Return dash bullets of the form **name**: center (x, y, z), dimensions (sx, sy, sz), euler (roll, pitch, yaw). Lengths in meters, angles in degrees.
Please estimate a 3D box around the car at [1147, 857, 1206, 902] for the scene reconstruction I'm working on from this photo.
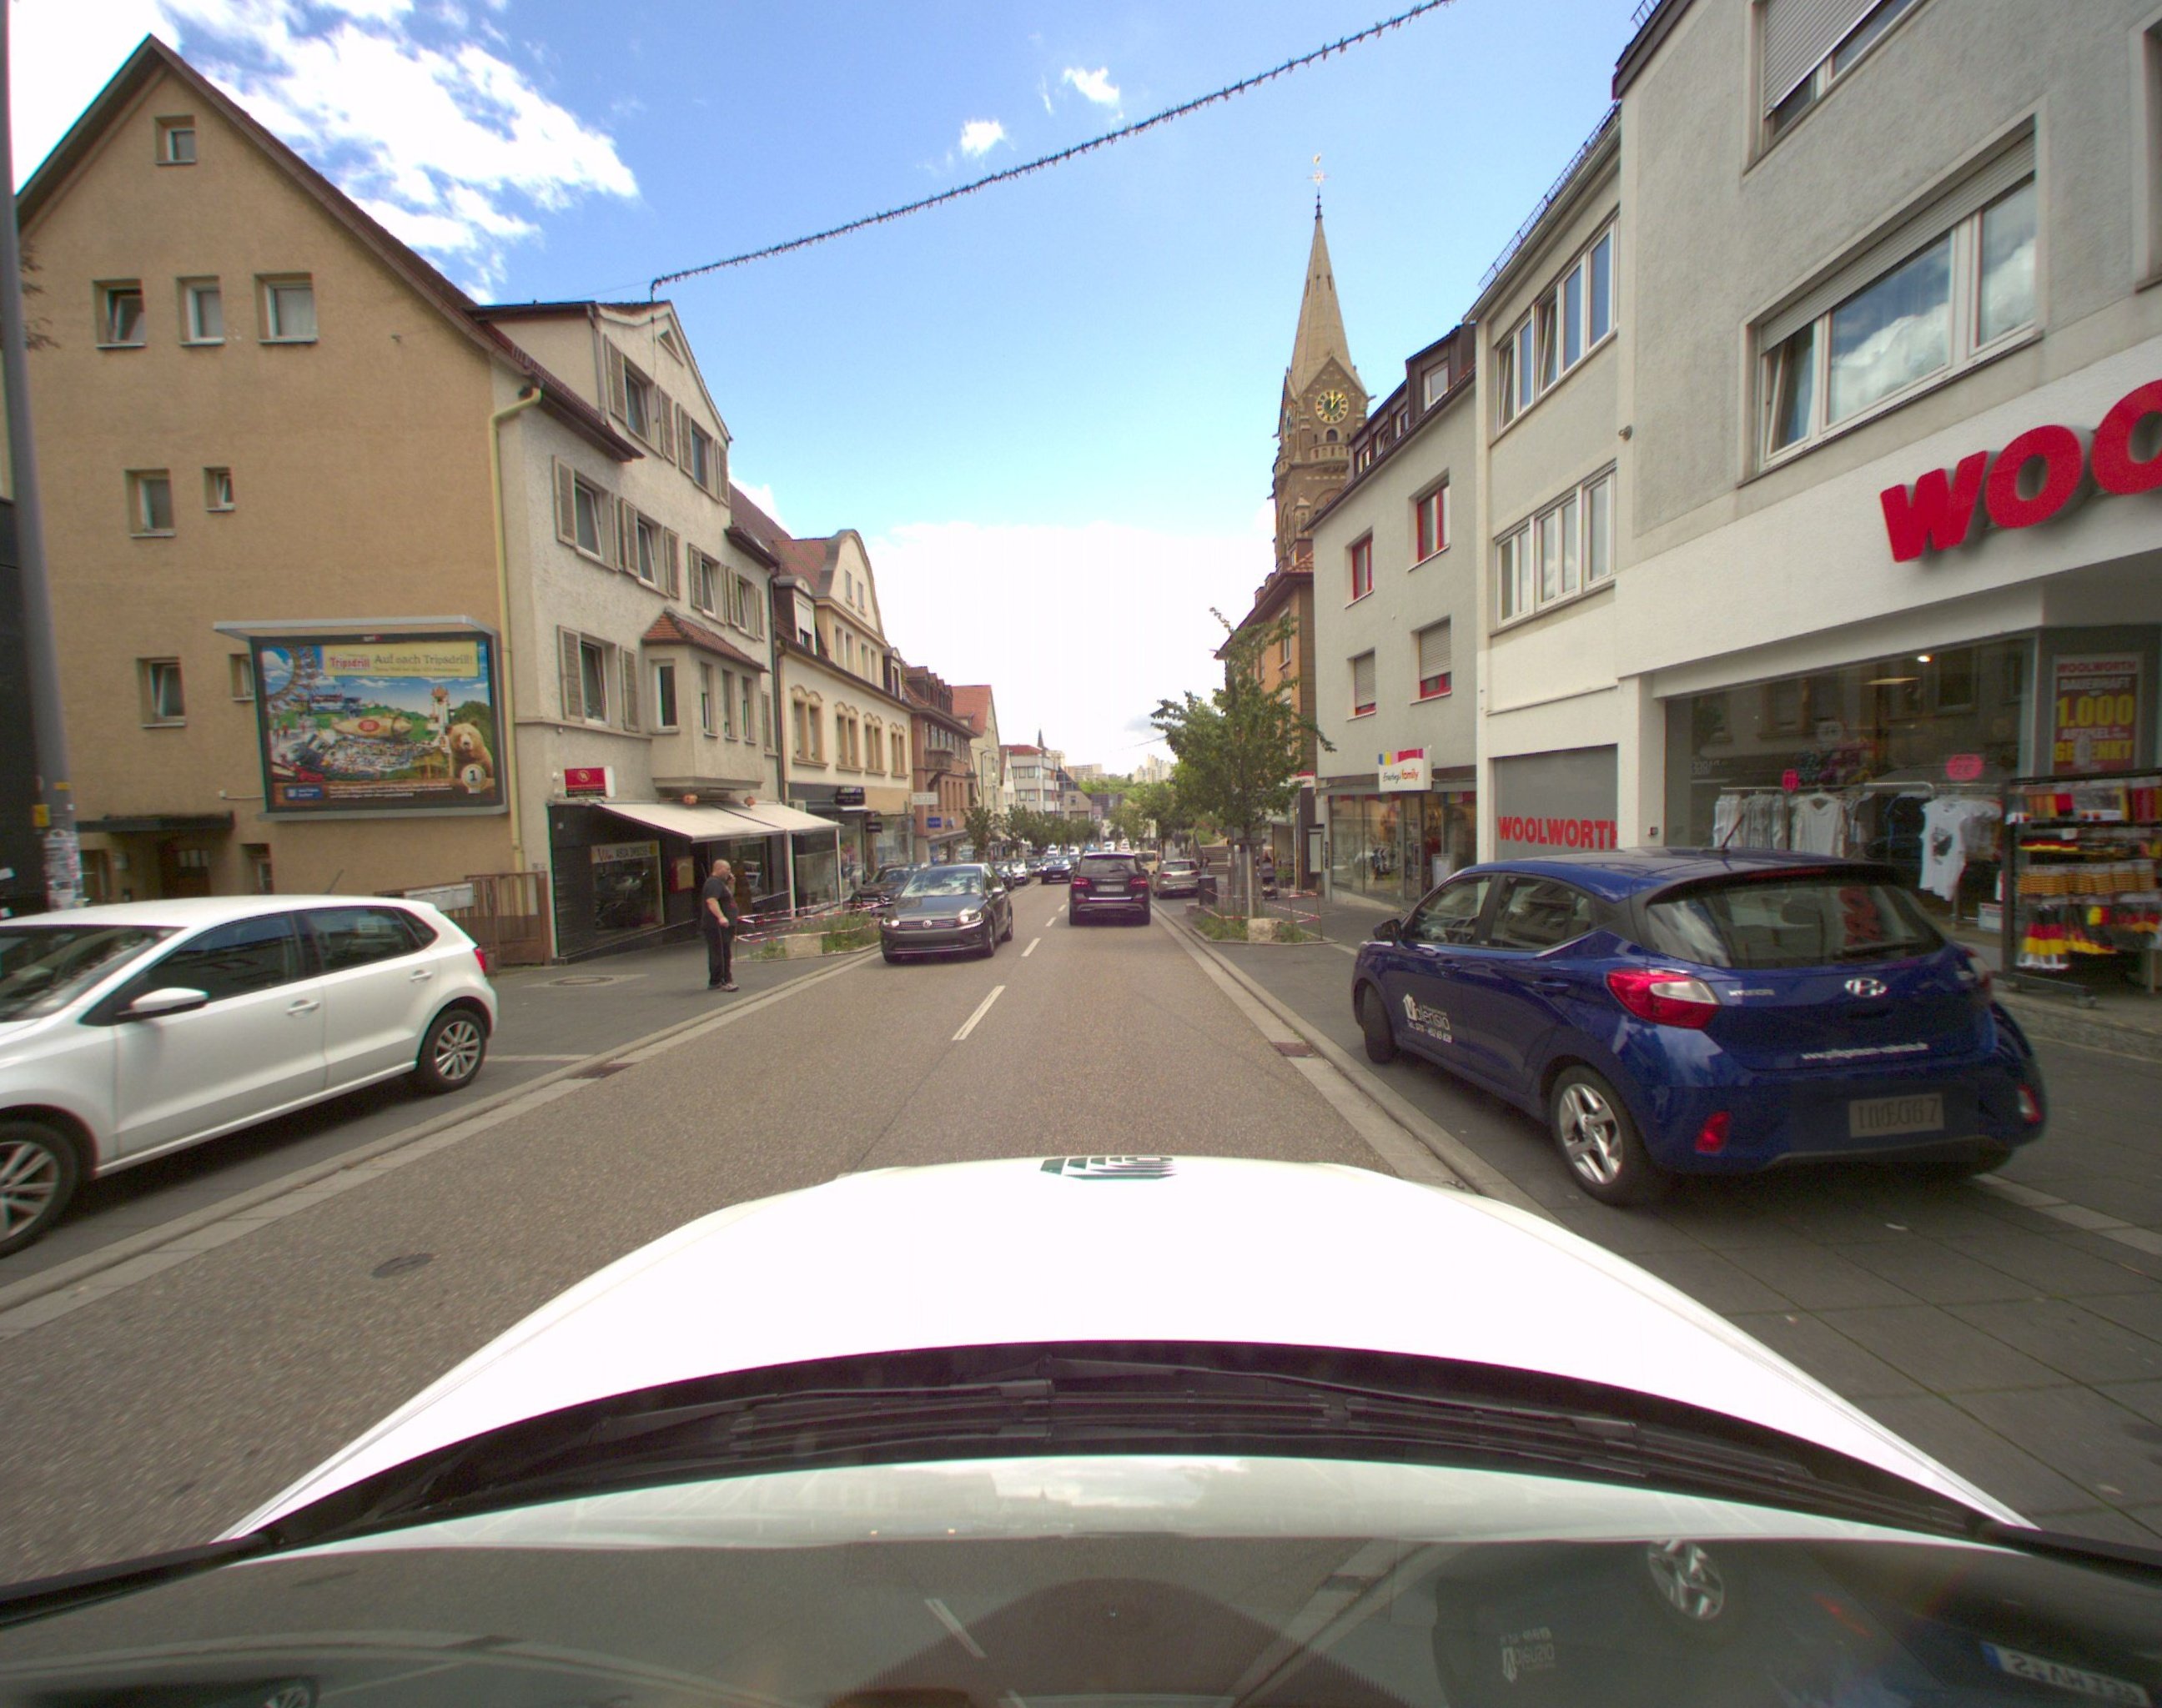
- **car**: center (3.670, 0.937, 31.870), dimensions (1.742, 1.465, 4.075), euler (-5, 0, 1)

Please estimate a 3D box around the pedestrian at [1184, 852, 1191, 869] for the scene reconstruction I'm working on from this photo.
- **pedestrian**: center (10.163, 0.653, 77.410), dimensions (0.565, 1.586, 0.668), euler (-2, -1, 10)

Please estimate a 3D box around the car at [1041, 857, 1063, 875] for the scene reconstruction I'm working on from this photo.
- **car**: center (-2.966, 1.205, 83.731), dimensions (1.919, 1.628, 4.264), euler (-1, 0, 2)

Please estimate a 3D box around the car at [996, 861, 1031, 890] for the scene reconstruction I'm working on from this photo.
- **car**: center (-4.142, 1.292, 50.607), dimensions (1.921, 1.595, 4.455), euler (0, 0, -2)

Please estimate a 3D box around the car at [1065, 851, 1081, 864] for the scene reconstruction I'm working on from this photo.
- **car**: center (-1.043, 0.458, 108.010), dimensions (1.919, 1.628, 4.264), euler (0, 0, 2)

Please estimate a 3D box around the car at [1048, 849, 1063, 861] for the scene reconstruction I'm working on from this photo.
- **car**: center (-3.478, 0.085, 111.020), dimensions (1.920, 1.628, 4.414), euler (0, 0, 0)

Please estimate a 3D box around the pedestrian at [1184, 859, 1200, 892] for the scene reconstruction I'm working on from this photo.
- **pedestrian**: center (5.812, 1.119, 42.630), dimensions (0.670, 1.632, 0.669), euler (-4, -1, -1)

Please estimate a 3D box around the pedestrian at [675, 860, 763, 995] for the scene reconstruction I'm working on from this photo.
- **pedestrian**: center (-4.732, 0.929, 10.705), dimensions (0.735, 1.672, 0.862), euler (-2, 0, -1)

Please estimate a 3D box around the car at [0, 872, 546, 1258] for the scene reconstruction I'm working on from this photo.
- **car**: center (-5.476, 0.926, 4.712), dimensions (1.920, 1.511, 4.262), euler (0, 0, 0)

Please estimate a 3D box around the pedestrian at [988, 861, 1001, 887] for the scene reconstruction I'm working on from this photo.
- **pedestrian**: center (-5.720, 1.317, 54.053), dimensions (0.725, 1.667, 0.720), euler (-1, -1, 0)

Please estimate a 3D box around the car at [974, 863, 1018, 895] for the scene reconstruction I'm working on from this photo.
- **car**: center (-4.441, 1.302, 43.314), dimensions (1.921, 1.496, 4.259), euler (-2, 0, -1)

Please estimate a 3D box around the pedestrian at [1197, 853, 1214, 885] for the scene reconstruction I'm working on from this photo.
- **pedestrian**: center (6.539, 0.776, 42.698), dimensions (0.670, 1.632, 0.669), euler (-4, -1, -1)

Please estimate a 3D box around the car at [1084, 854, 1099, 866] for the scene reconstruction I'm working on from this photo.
- **car**: center (1.380, 0.740, 107.257), dimensions (1.806, 1.508, 4.000), euler (-2, 0, 1)

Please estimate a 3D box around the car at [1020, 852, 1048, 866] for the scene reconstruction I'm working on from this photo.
- **car**: center (-6.784, 0.773, 118.416), dimensions (3.978, 1.750, 1.998), euler (-4, 0, -3)

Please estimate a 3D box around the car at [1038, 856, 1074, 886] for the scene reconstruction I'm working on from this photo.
- **car**: center (-1.547, 1.075, 51.896), dimensions (1.985, 1.718, 4.446), euler (-3, 0, 0)

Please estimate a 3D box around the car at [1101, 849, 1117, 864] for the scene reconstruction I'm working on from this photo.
- **car**: center (4.463, 0.399, 129.859), dimensions (2.163, 2.364, 4.630), euler (-3, 0, 5)

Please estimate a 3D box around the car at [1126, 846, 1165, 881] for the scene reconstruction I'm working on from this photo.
- **car**: center (3.864, 0.538, 49.208), dimensions (1.931, 1.891, 4.707), euler (-4, 0, 1)

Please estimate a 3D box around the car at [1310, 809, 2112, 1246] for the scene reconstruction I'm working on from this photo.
- **car**: center (2.951, 0.683, 4.989), dimensions (1.745, 1.497, 3.795), euler (-4, -1, -3)

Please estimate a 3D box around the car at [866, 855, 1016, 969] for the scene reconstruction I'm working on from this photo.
- **car**: center (-2.289, 0.905, 14.455), dimensions (1.813, 1.618, 4.135), euler (-4, -1, 0)

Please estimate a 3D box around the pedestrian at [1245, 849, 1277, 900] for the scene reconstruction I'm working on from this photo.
- **pedestrian**: center (5.905, 0.675, 26.737), dimensions (0.733, 1.585, 1.000), euler (-4, -1, 0)

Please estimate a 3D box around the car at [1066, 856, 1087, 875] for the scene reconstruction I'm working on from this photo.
- **car**: center (-0.406, 1.012, 74.230), dimensions (1.758, 1.617, 4.033), euler (-2, 0, 1)

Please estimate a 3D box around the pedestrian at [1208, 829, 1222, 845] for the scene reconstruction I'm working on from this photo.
- **pedestrian**: center (10.787, -1.334, 65.518), dimensions (0.986, 1.231, 0.984), euler (-2, -1, 3)

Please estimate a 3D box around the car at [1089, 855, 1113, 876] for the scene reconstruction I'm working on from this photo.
- **car**: center (1.644, 0.913, 66.042), dimensions (1.919, 1.628, 4.264), euler (0, 0, 2)

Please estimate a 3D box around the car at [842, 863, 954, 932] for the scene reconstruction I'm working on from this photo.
- **car**: center (-4.770, 1.069, 21.905), dimensions (1.920, 1.621, 4.639), euler (0, -1, 0)

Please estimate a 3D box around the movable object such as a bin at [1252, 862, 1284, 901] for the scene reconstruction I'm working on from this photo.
- **movable object such as a bin**: center (5.916, 0.874, 25.830), dimensions (0.719, 1.158, 0.907), euler (-4, -1, 0)

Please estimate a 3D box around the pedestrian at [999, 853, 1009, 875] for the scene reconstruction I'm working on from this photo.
- **pedestrian**: center (-5.891, 0.803, 62.613), dimensions (0.639, 1.667, 0.720), euler (-1, -1, 0)

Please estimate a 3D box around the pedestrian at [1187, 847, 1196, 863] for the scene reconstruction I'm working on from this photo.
- **pedestrian**: center (14.288, 0.136, 105.206), dimensions (1.044, 1.913, 0.939), euler (-4, -1, 8)

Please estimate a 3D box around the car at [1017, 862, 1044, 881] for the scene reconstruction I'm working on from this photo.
- **car**: center (-4.106, 1.415, 66.939), dimensions (1.920, 1.496, 4.262), euler (0, 0, 0)

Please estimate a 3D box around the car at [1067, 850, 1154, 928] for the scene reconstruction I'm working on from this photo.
- **car**: center (0.735, 0.780, 20.403), dimensions (1.936, 1.740, 4.180), euler (0, 0, 2)
